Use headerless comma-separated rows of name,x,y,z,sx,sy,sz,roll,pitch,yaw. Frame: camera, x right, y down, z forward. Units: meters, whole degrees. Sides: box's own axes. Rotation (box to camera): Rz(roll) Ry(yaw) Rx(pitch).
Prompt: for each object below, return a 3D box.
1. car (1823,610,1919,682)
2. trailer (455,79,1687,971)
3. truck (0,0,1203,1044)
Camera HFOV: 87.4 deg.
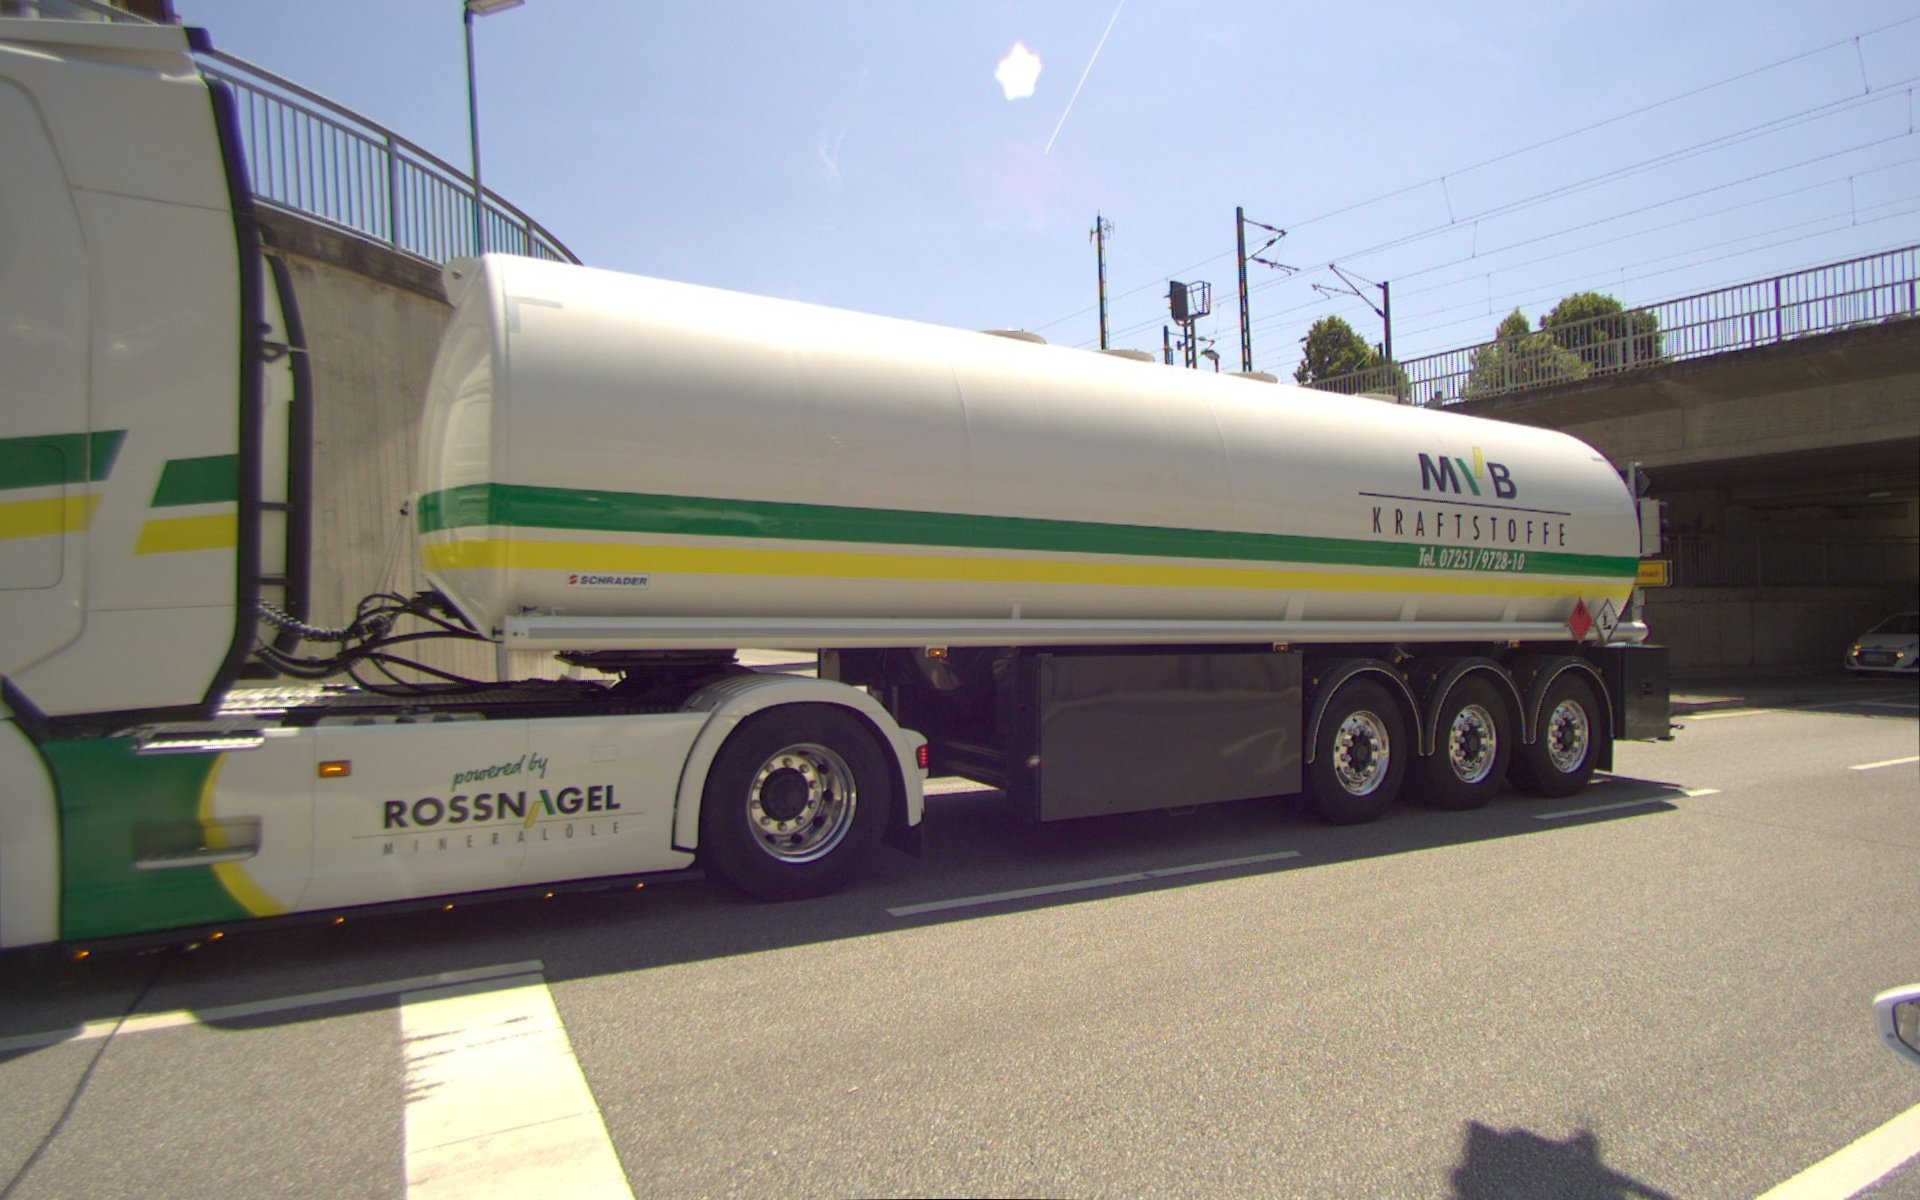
car,22.214,1.004,23.123,3.770,1.486,1.780,-2,-2,-17
trailer,1.619,-0.245,7.772,9.769,3.712,2.677,1,0,-30
truck,-2.299,-0.315,5.551,7.282,3.712,2.676,1,0,-30
